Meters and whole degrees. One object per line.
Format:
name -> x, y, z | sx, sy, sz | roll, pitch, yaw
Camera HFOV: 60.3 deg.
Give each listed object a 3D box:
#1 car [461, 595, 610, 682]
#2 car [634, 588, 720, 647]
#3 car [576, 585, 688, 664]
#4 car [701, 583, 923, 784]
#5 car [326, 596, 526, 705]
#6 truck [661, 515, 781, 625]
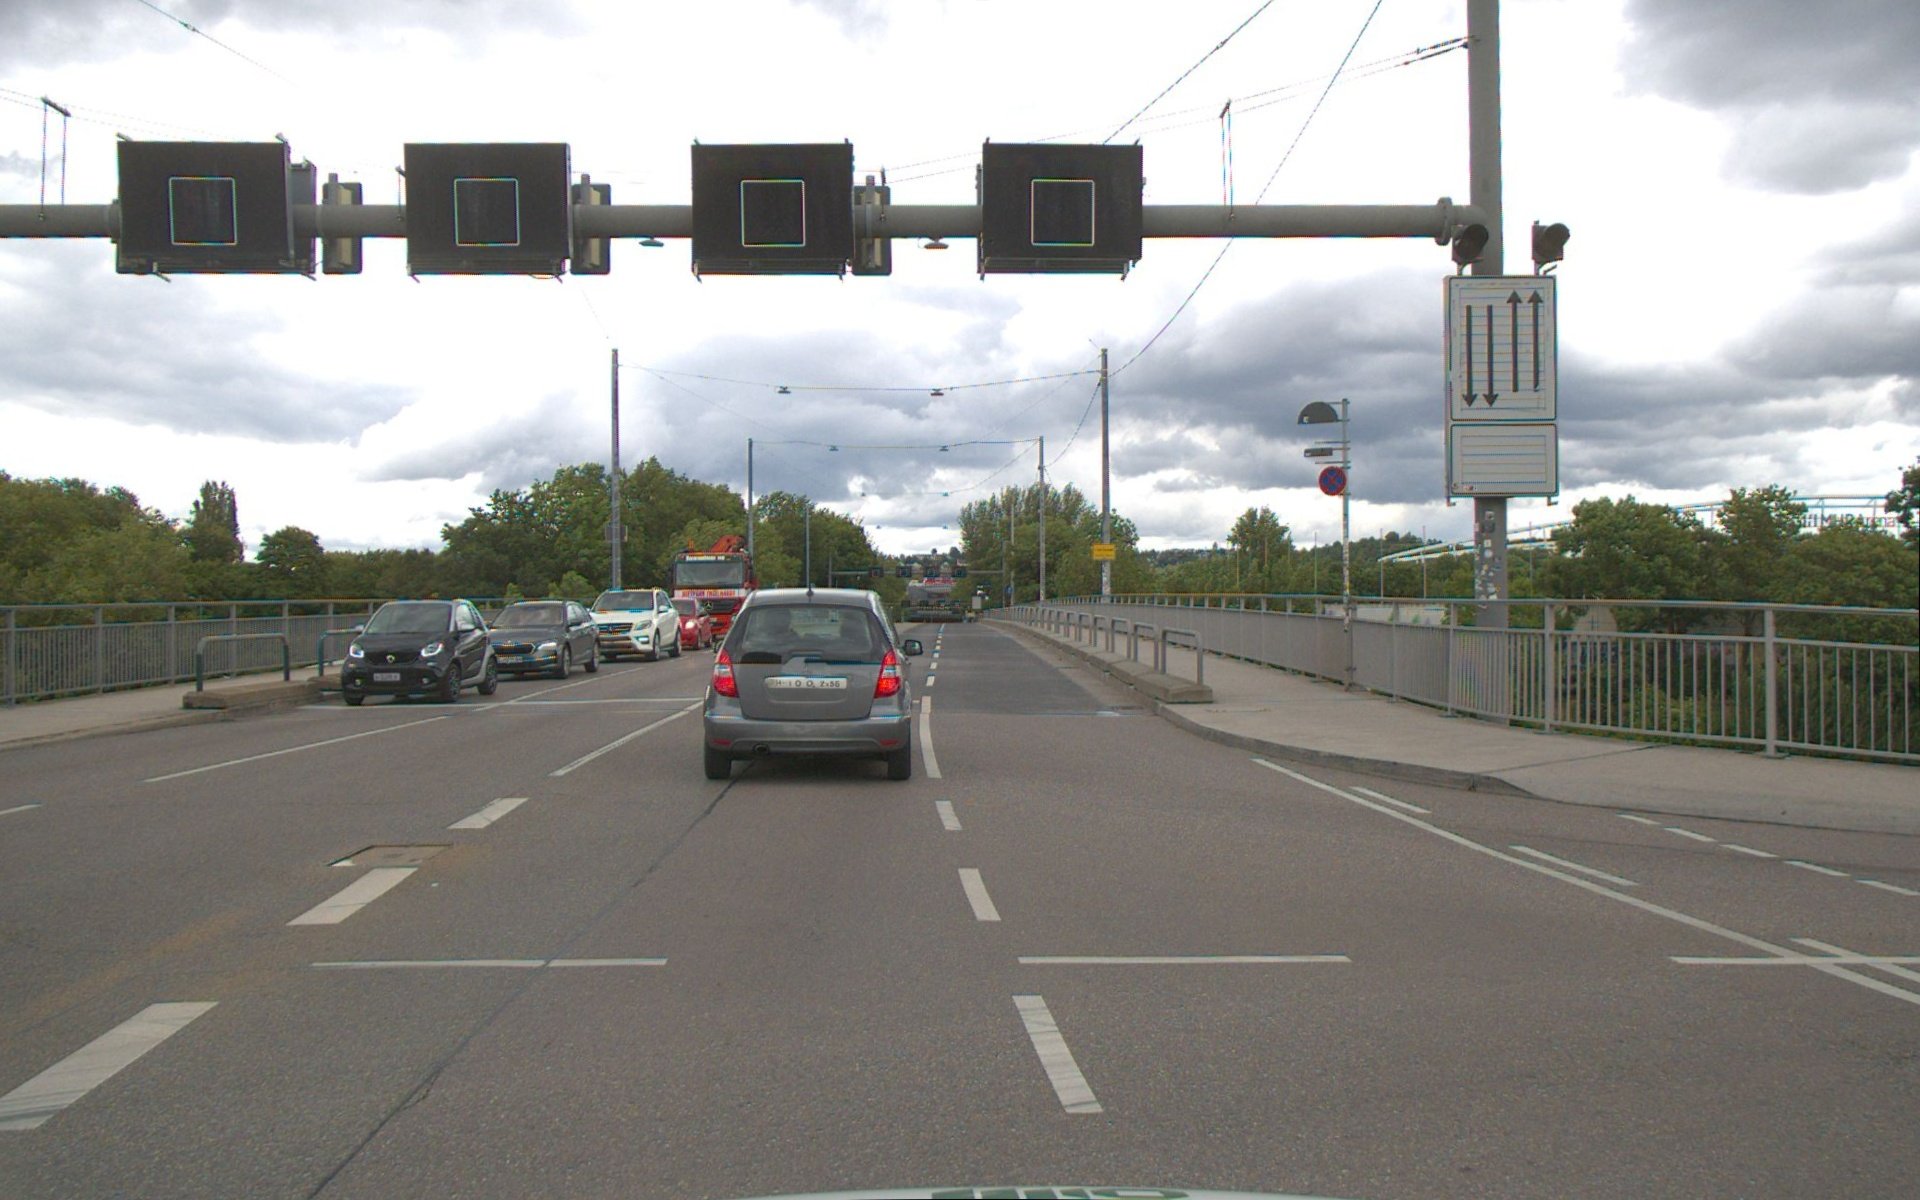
car -> -8.236, 0.690, 32.488 | 1.798, 1.530, 4.516 | -1, 0, -1
car -> -8.316, 0.470, 48.919 | 1.841, 1.631, 4.015 | -1, 0, -1
car -> -8.039, 0.554, 40.993 | 1.841, 1.792, 4.802 | -1, 0, -1
car -> -1.214, 0.649, 15.011 | 1.710, 1.577, 3.870 | 1, 0, -1
car -> -8.343, 0.736, 26.189 | 1.797, 1.530, 3.872 | -1, 0, 1
truck -> -8.486, -1.031, 60.063 | 2.944, 3.628, 9.980 | -1, 0, -1
